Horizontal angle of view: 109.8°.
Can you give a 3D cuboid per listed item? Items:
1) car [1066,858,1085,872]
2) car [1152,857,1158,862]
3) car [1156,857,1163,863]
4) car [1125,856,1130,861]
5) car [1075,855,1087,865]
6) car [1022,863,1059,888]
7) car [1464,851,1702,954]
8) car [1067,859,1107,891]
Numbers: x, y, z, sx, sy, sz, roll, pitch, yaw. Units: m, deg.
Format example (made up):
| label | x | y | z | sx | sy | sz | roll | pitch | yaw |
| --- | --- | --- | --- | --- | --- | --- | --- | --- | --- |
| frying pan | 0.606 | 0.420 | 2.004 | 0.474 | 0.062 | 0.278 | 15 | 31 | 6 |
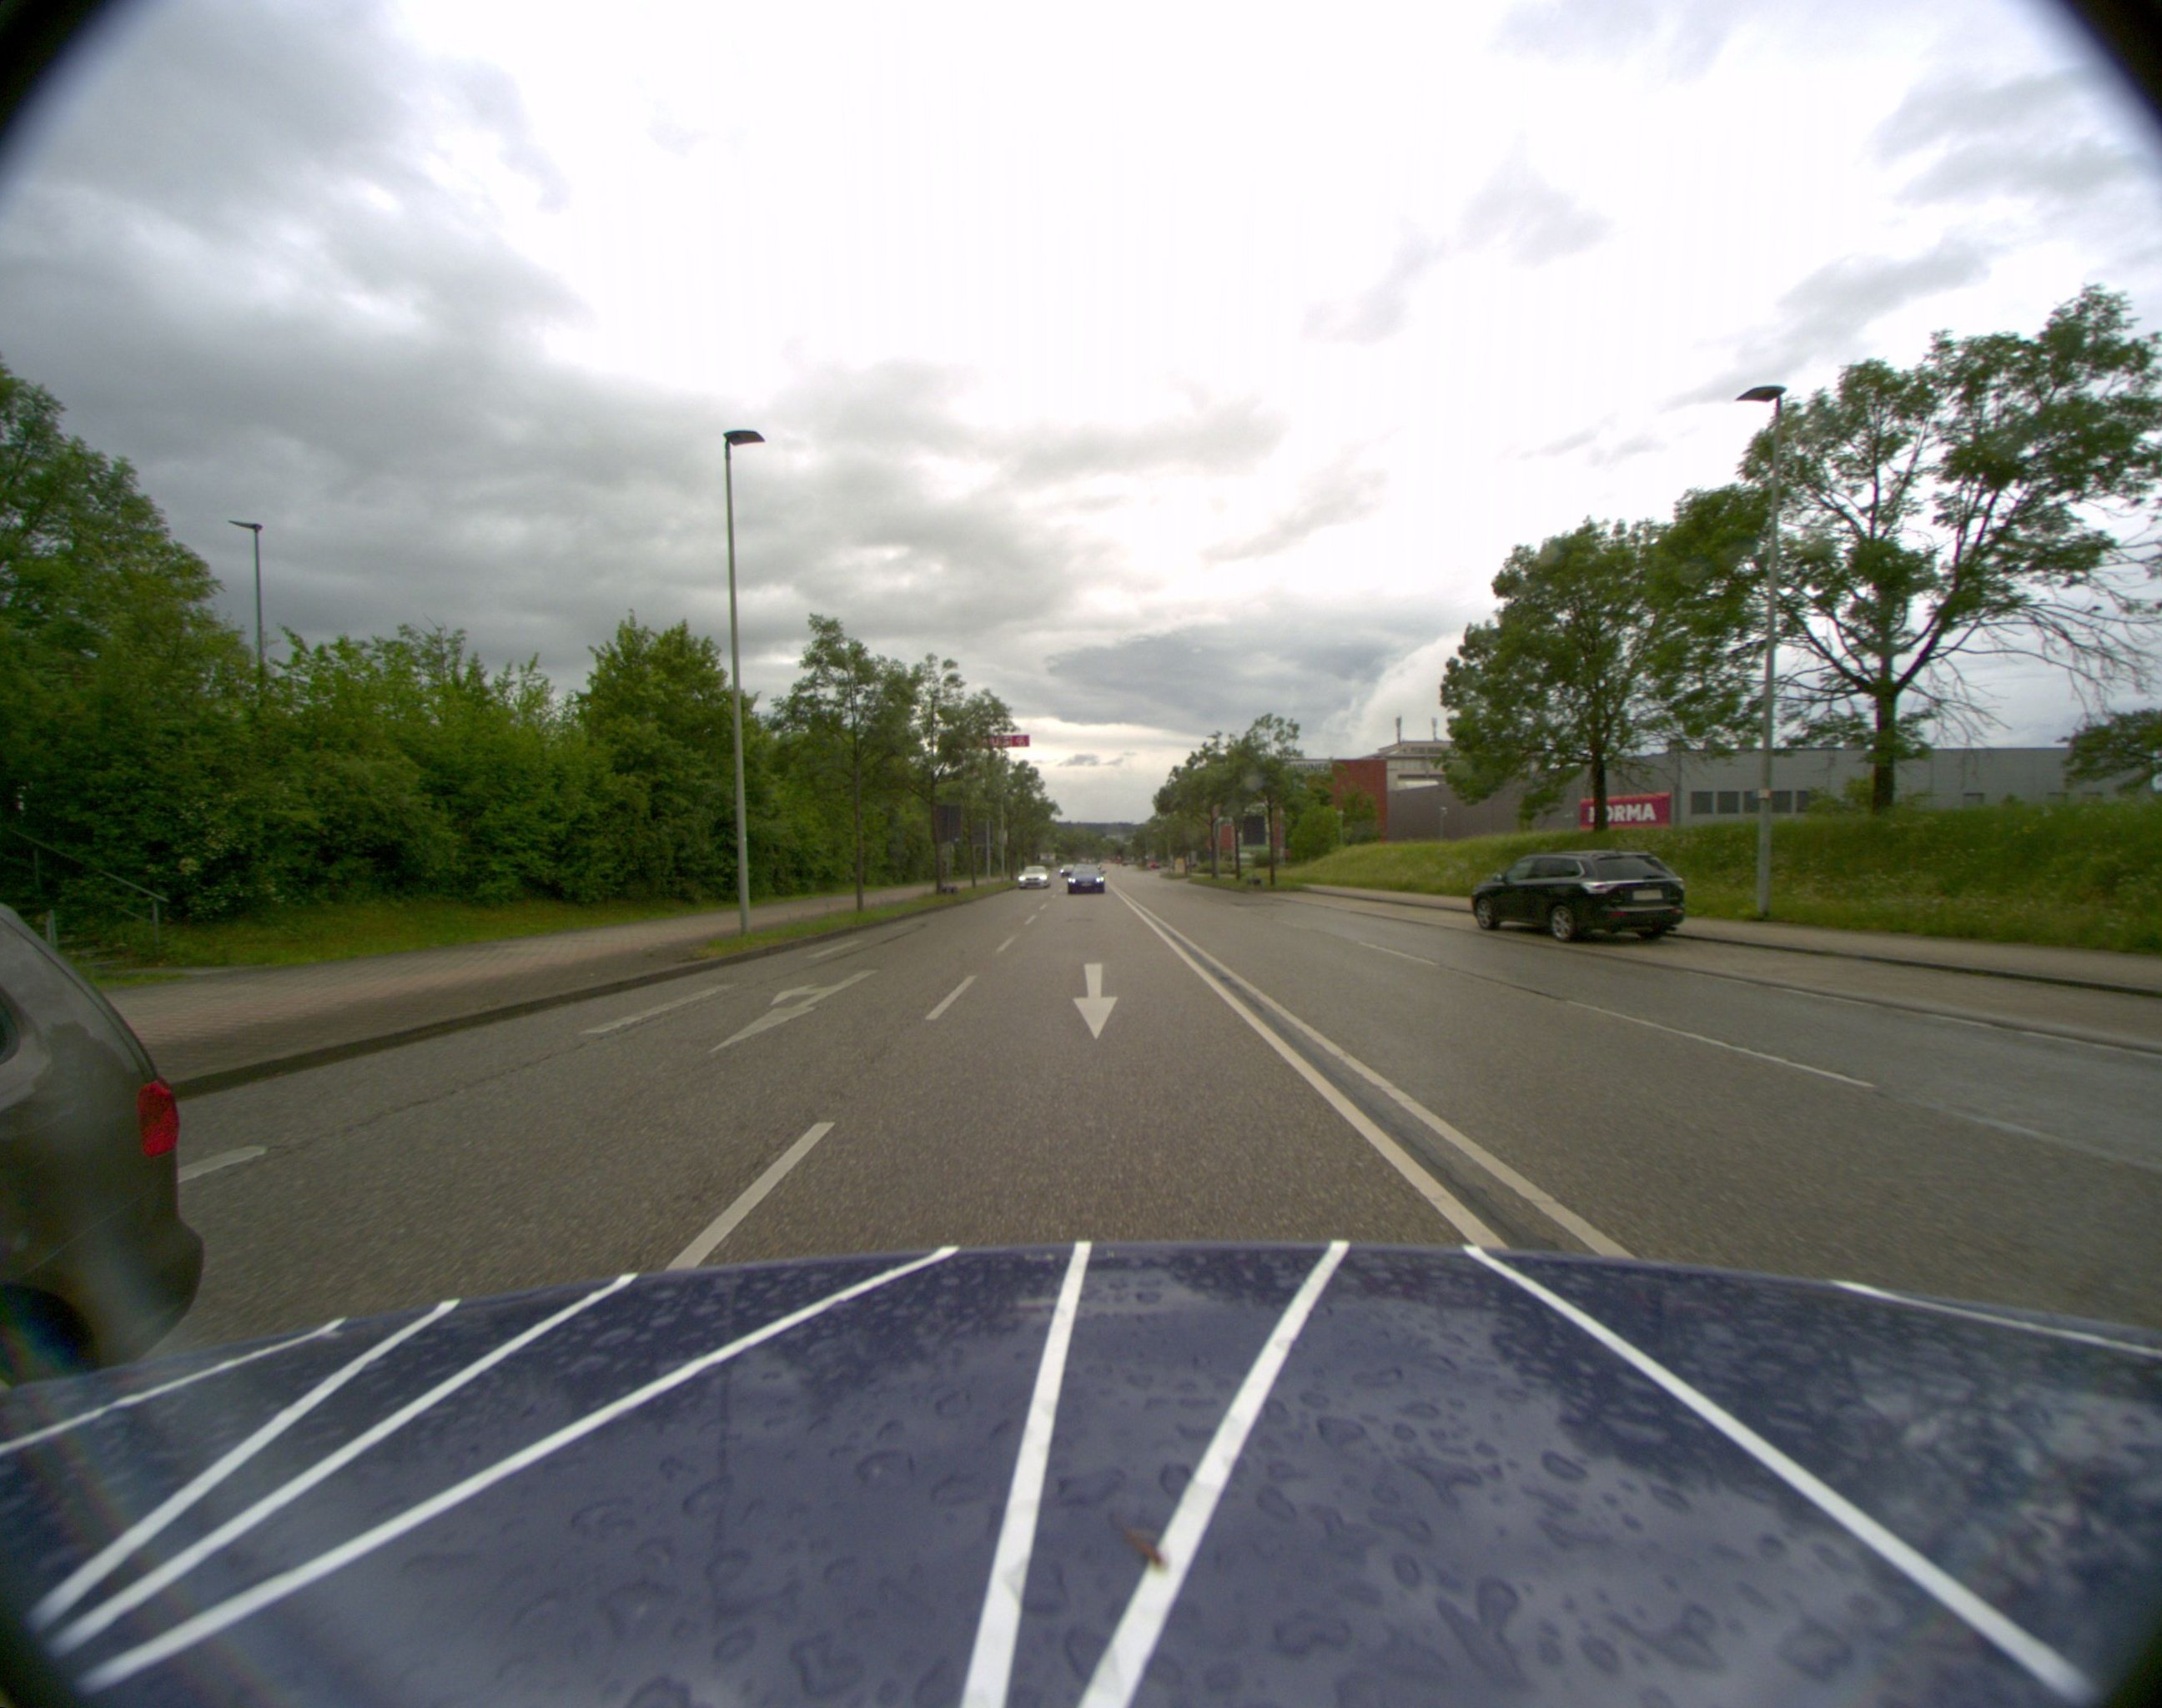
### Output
| label | x | y | z | sx | sy | sz | roll | pitch | yaw |
| --- | --- | --- | --- | --- | --- | --- | --- | --- | --- |
| car | -0.649 | 1.299 | 94.095 | 2.113 | 1.610 | 4.841 | -2 | 0 | 3 |
| car | 21.979 | 1.577 | 225.873 | 1.679 | 1.497 | 4.218 | 0 | 0 | 6 |
| car | 20.321 | 1.600 | 197.246 | 1.740 | 1.445 | 4.002 | 1 | 0 | 6 |
| car | 16.224 | 1.600 | 265.250 | 1.863 | 1.568 | 4.322 | 1 | 0 | 3 |
| car | -0.056 | 0.953 | 124.792 | 1.853 | 1.565 | 3.999 | -2 | 1 | 0 |
| car | -2.633 | 1.377 | 50.283 | 1.863 | 1.473 | 4.002 | -2 | 0 | 5 |
| car | 9.565 | 0.822 | 15.011 | 1.730 | 1.658 | 4.488 | -3 | 0 | 1 |
| car | 0.378 | 1.037 | 39.402 | 1.827 | 1.473 | 4.841 | -2 | 0 | 3 |
